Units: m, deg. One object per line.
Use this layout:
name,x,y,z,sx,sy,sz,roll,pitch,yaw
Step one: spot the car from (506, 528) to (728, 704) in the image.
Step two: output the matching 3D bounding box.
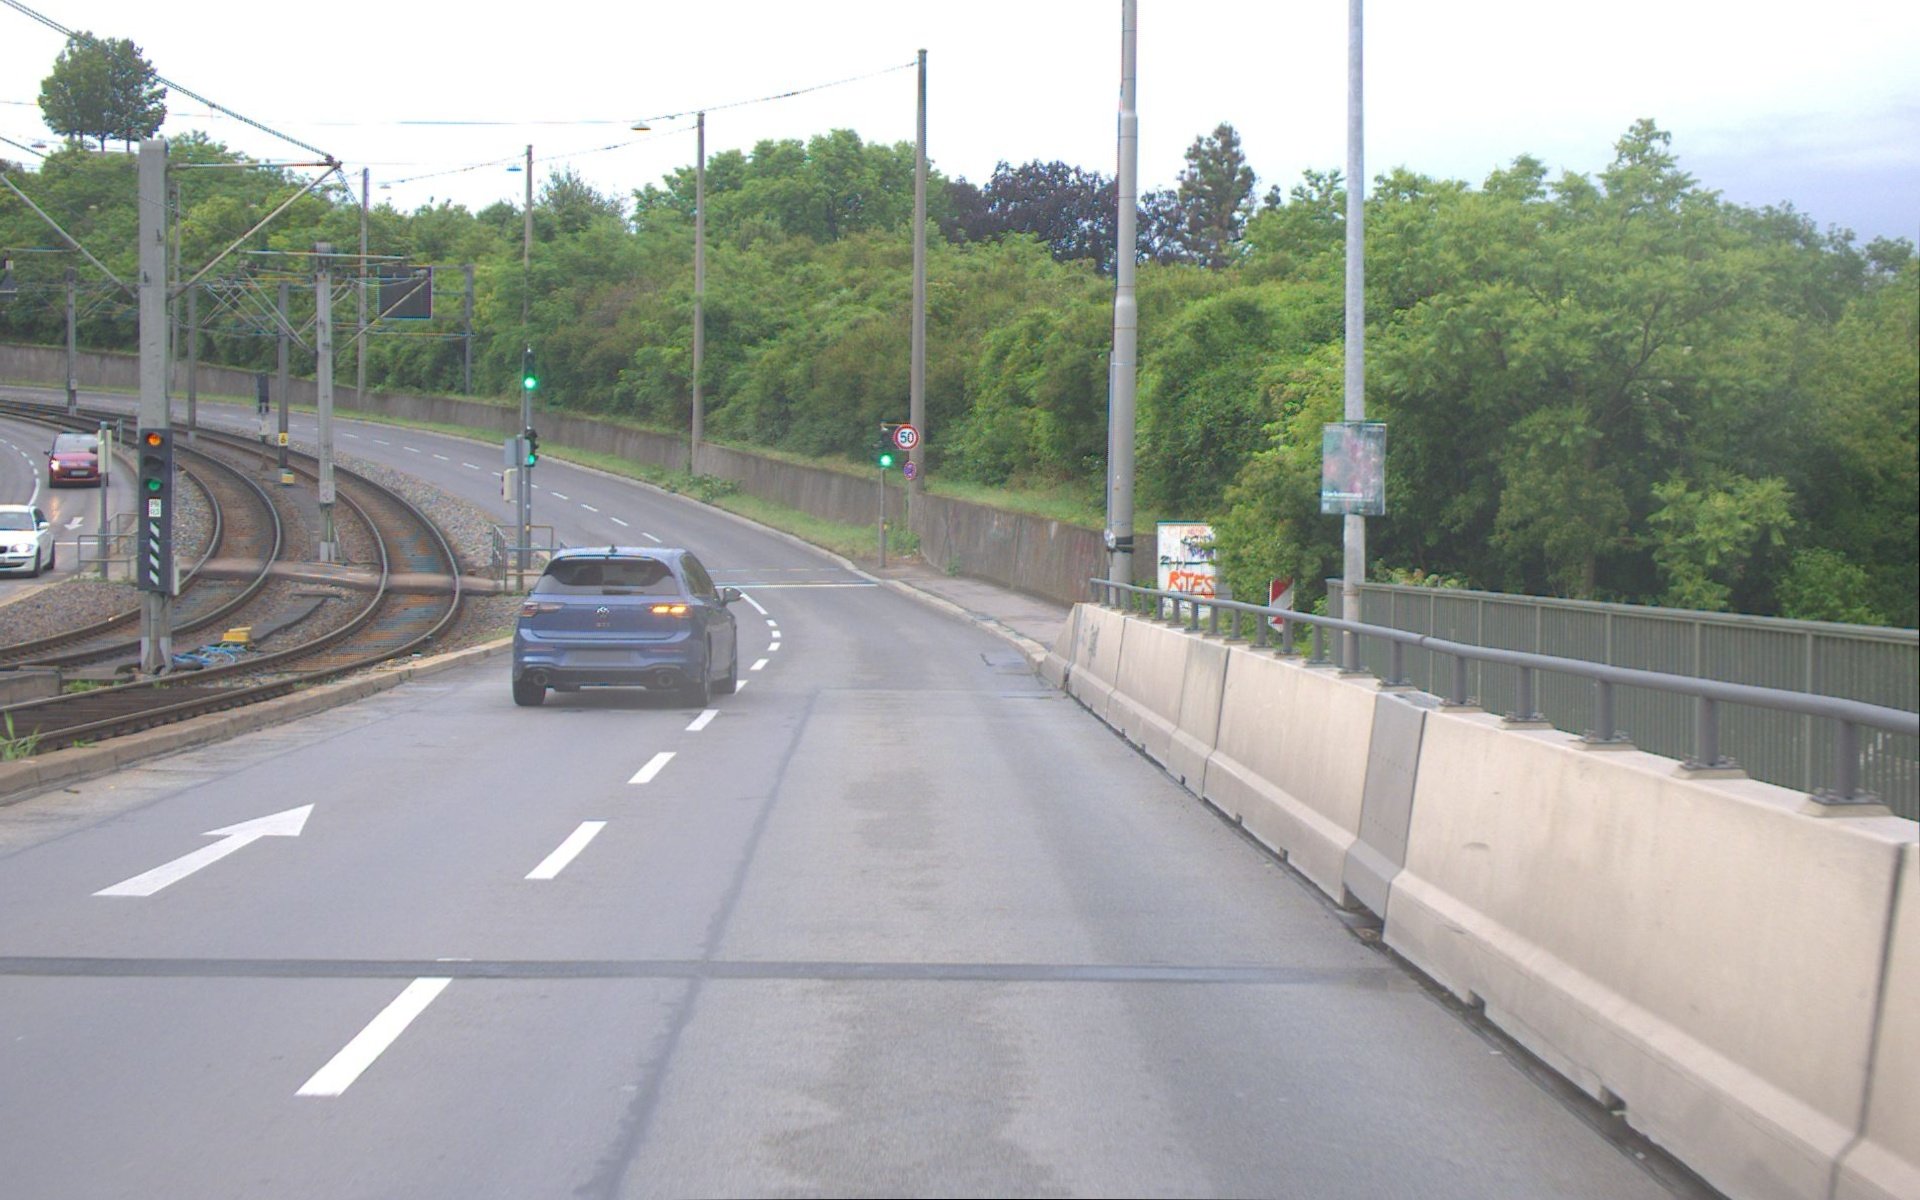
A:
car,-3.133,0.109,32.045,1.763,1.496,4.000,1,1,-2

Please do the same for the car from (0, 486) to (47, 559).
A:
car,-20.136,-1.595,71.996,1.729,1.432,4.493,-1,1,-12

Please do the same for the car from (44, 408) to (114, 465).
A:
car,-27.757,-5.182,108.461,1.847,1.591,4.735,-1,5,-11
